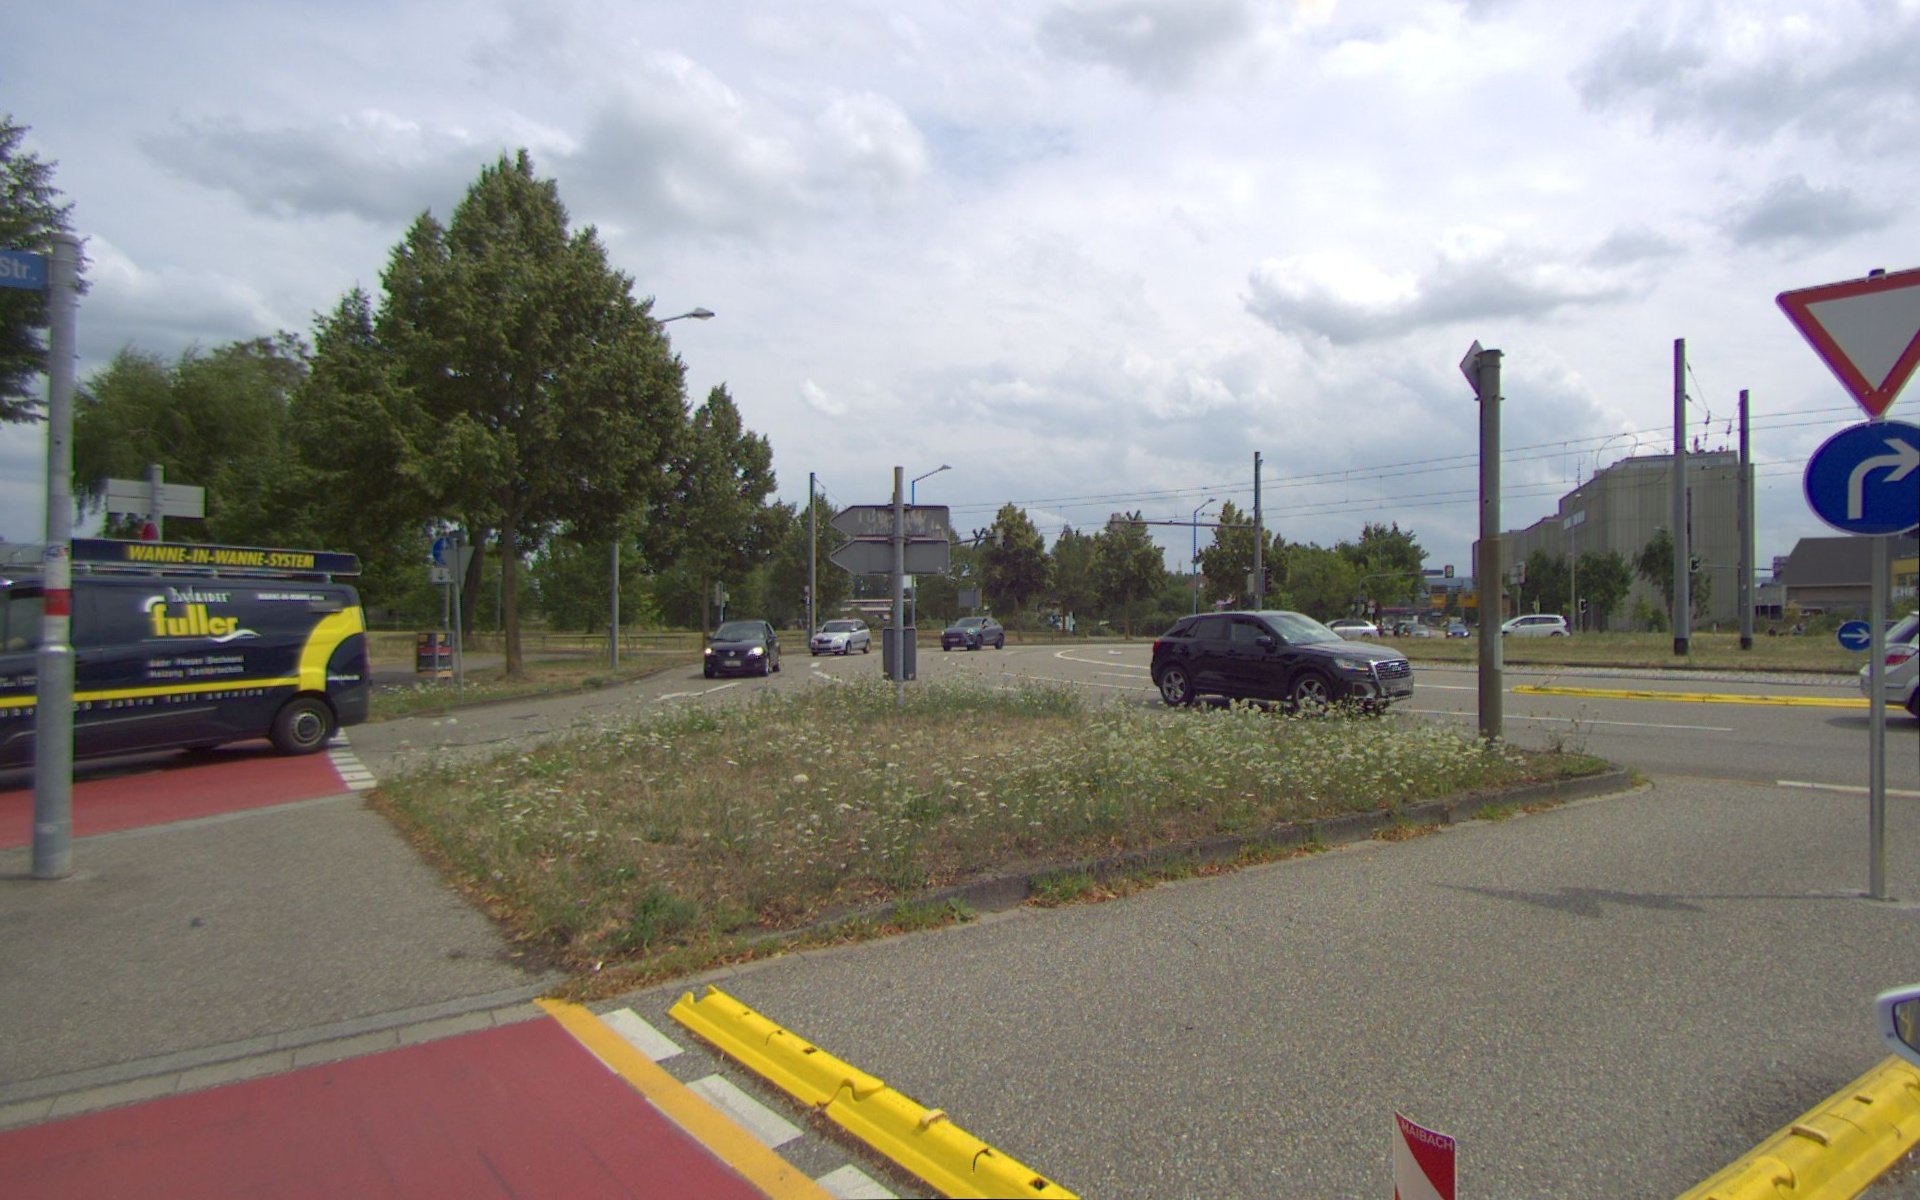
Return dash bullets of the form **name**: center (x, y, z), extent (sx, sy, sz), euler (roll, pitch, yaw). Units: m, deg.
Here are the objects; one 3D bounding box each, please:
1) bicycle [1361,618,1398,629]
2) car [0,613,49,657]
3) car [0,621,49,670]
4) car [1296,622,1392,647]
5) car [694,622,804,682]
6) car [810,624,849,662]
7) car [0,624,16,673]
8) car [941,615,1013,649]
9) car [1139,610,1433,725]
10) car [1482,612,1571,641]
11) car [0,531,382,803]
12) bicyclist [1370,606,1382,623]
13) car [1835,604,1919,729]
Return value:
- **bicycle**: center (33.966, 1.918, 81.348), extent (2.605, 0.866, 0.864), euler (0, -1, 4)
- **car**: center (-33.737, 1.156, 33.497), extent (4.847, 1.491, 1.813), euler (1, -1, -39)
- **car**: center (-31.802, 1.507, 31.547), extent (4.671, 1.491, 1.811), euler (-2, 1, -42)
- **car**: center (23.262, 2.098, 61.001), extent (5.080, 1.502, 2.001), euler (0, -1, 2)
- **car**: center (-5.496, 1.335, 26.547), extent (1.599, 1.433, 3.724), euler (-2, -2, 9)
- **car**: center (-5.578, 1.824, 43.230), extent (1.598, 1.539, 4.215), euler (0, -1, -6)
- **car**: center (-30.017, 1.508, 29.769), extent (1.464, 1.442, 2.898), euler (-2, 0, 44)
- **car**: center (0.871, 1.516, 48.306), extent (2.024, 1.572, 4.474), euler (-1, -1, 21)
- **car**: center (4.891, 0.940, 15.563), extent (1.725, 1.539, 4.103), euler (1, -1, -37)
- **car**: center (33.964, 1.572, 60.330), extent (4.267, 1.688, 1.939), euler (0, -1, 13)
- **car**: center (-8.693, 0.593, 9.915), extent (1.961, 2.303, 5.160), euler (0, -1, 19)
- **bicyclist**: center (33.673, 1.182, 81.354), extent (0.660, 1.428, 0.864), euler (0, -1, 4)
- **car**: center (13.023, 0.783, 11.725), extent (4.197, 1.482, 1.821), euler (-1, -1, 41)
